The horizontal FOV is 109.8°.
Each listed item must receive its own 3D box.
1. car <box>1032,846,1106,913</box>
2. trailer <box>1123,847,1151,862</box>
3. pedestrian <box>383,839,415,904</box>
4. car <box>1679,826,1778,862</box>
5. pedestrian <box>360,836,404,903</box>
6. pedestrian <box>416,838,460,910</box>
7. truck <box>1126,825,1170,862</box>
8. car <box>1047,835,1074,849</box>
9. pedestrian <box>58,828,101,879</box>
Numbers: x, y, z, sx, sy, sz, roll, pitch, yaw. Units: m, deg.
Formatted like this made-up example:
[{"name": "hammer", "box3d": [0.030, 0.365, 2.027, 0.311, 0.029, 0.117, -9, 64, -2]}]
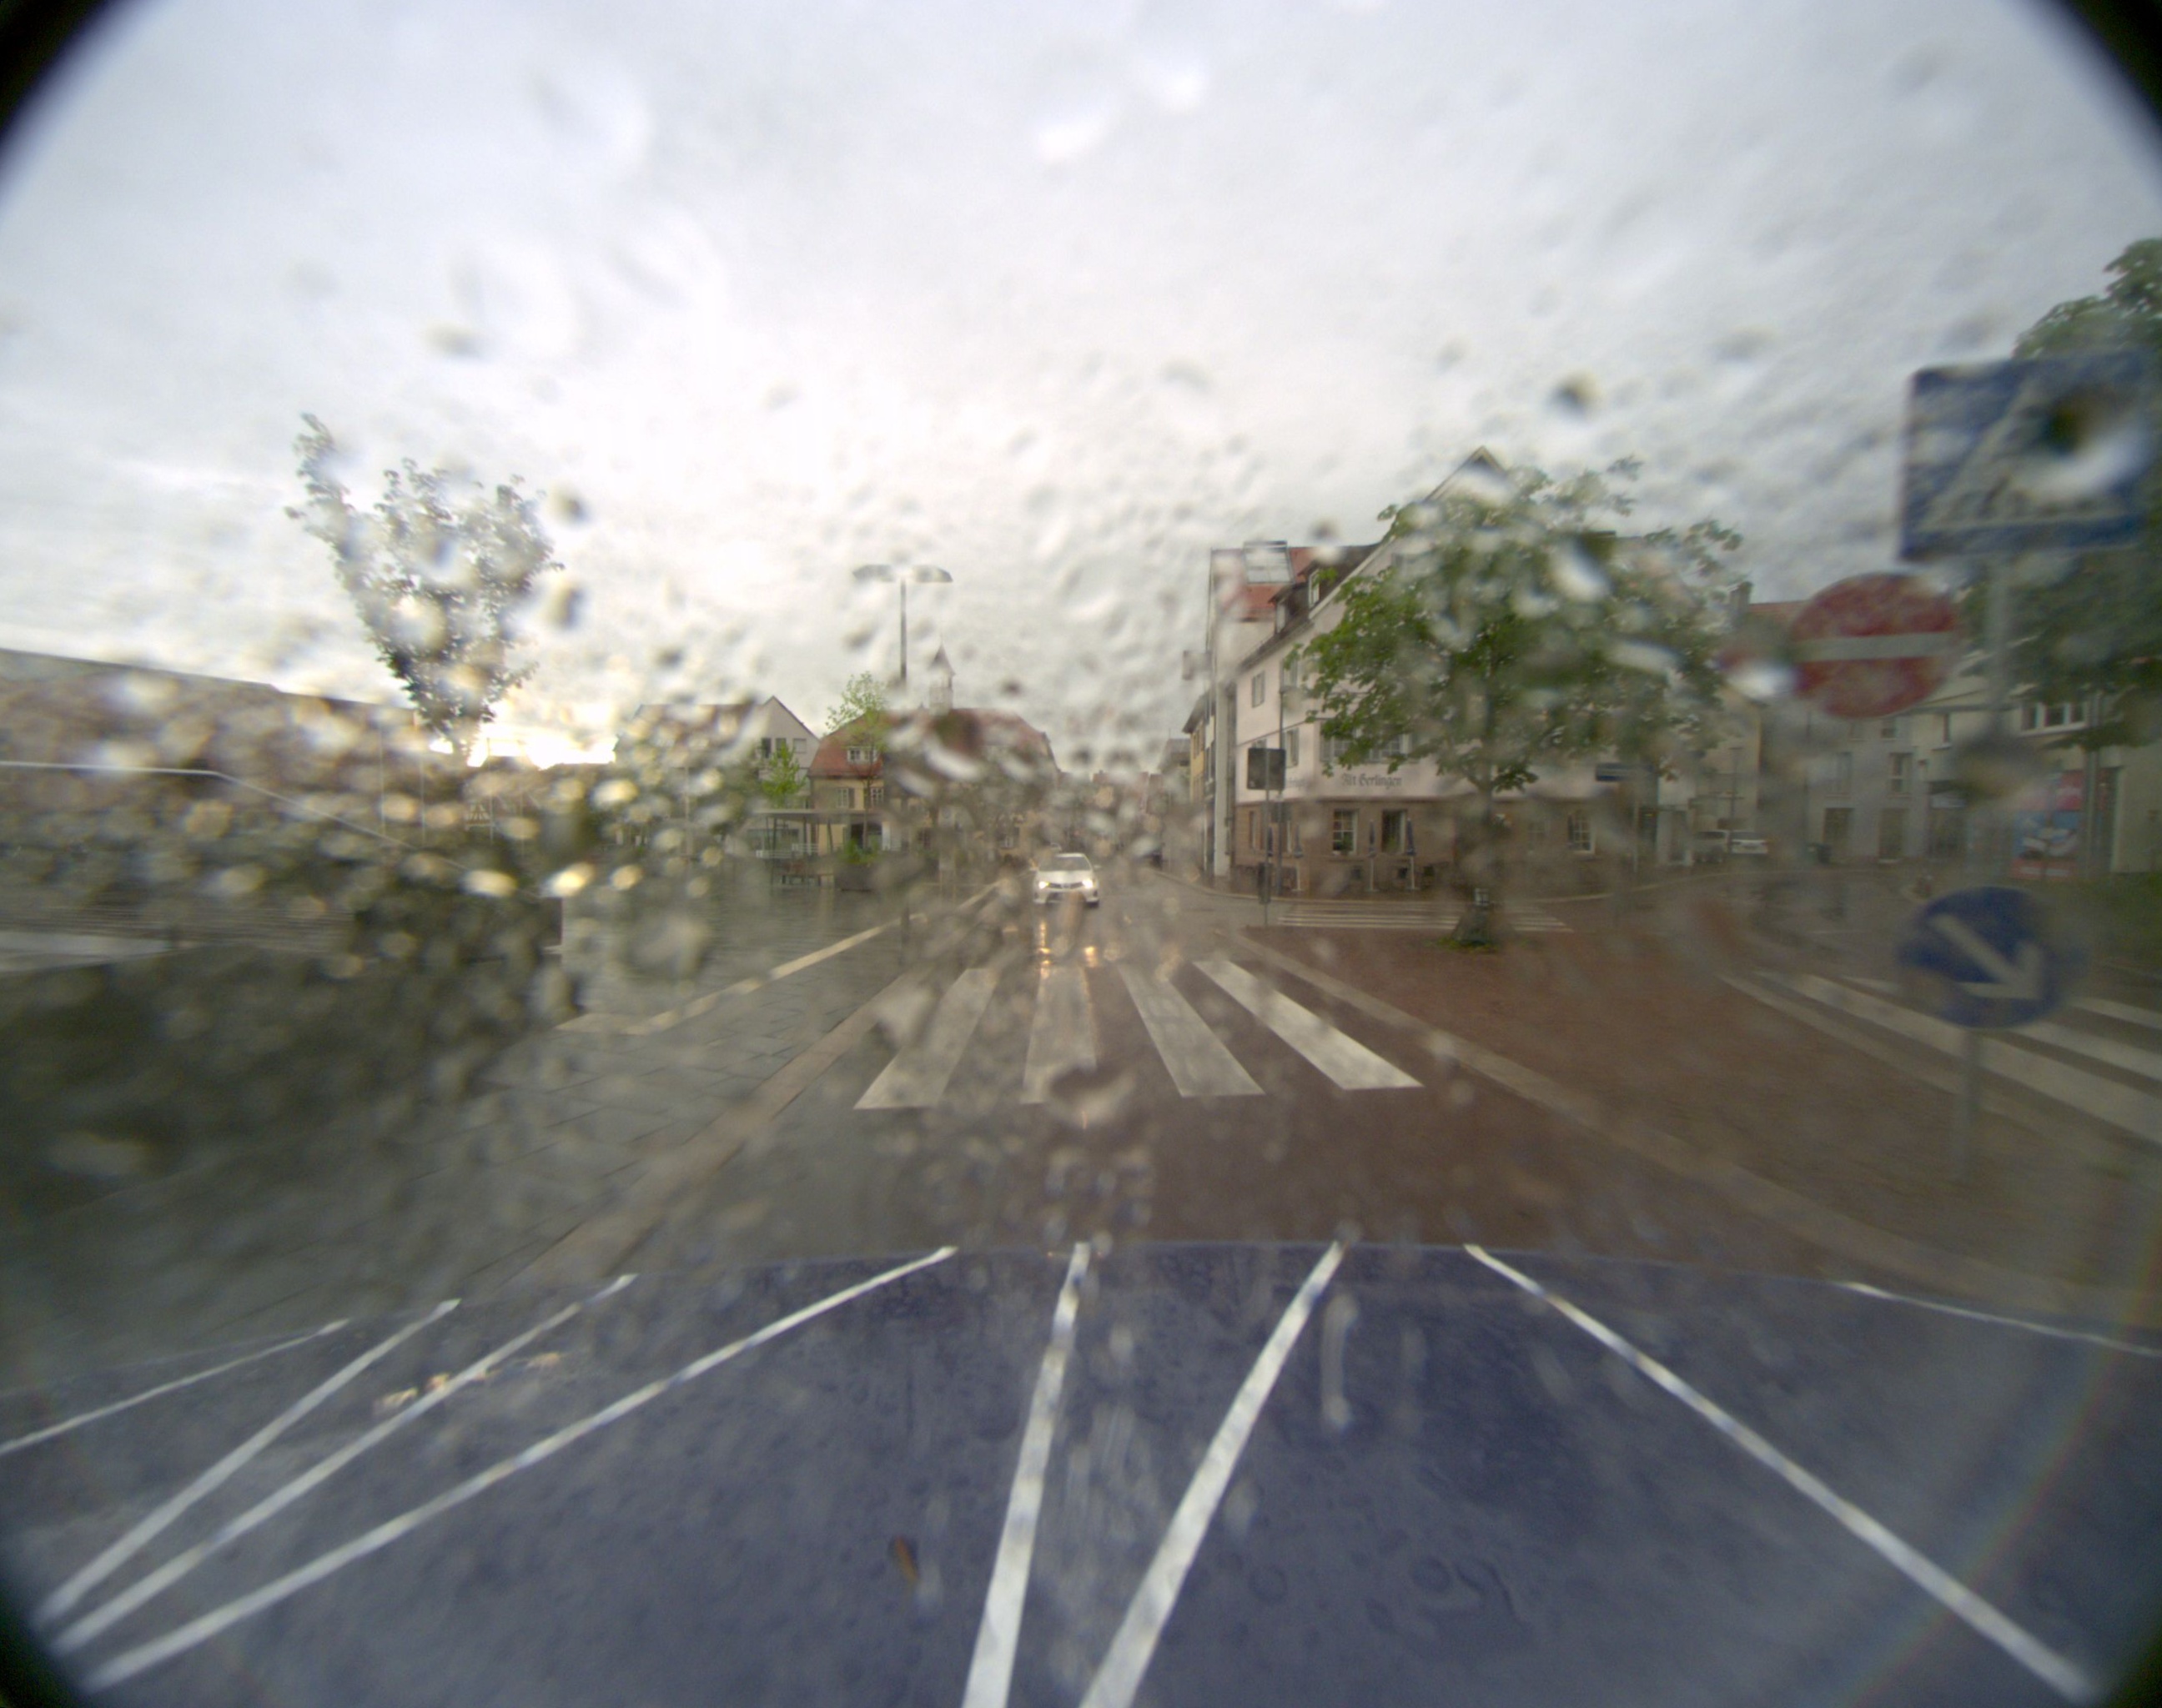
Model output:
[{"name": "car", "box3d": [-0.233, 0.632, 21.788, 1.867, 1.578, 4.613, -1, 2, 2]}, {"name": "trailer", "box3d": [4.499, 0.042, 61.072, 1.857, 1.118, 3.019, 0, 0, -3]}, {"name": "pedestrian", "box3d": [-26.273, 0.660, 29.268, 0.735, 2.426, 0.570, 2, 3, 15]}, {"name": "car", "box3d": [31.735, -0.545, 37.405, 1.828, 1.613, 3.890, 1, 2, 8]}, {"name": "pedestrian", "box3d": [-26.087, 0.552, 28.360, 0.942, 2.426, 0.777, 2, 3, 18]}, {"name": "pedestrian", "box3d": [-24.736, 0.747, 29.234, 1.054, 2.669, 0.833, 2, 3, 20]}, {"name": "truck", "box3d": [4.848, -0.705, 56.309, 2.406, 2.579, 6.481, 0, 0, -2]}, {"name": "car", "box3d": [-2.403, -1.445, 88.932, 1.865, 1.452, 4.004, 2, 3, 18]}, {"name": "pedestrian", "box3d": [-45.786, -0.038, 34.731, 0.902, 2.295, 0.800, 2, 3, 12]}]
